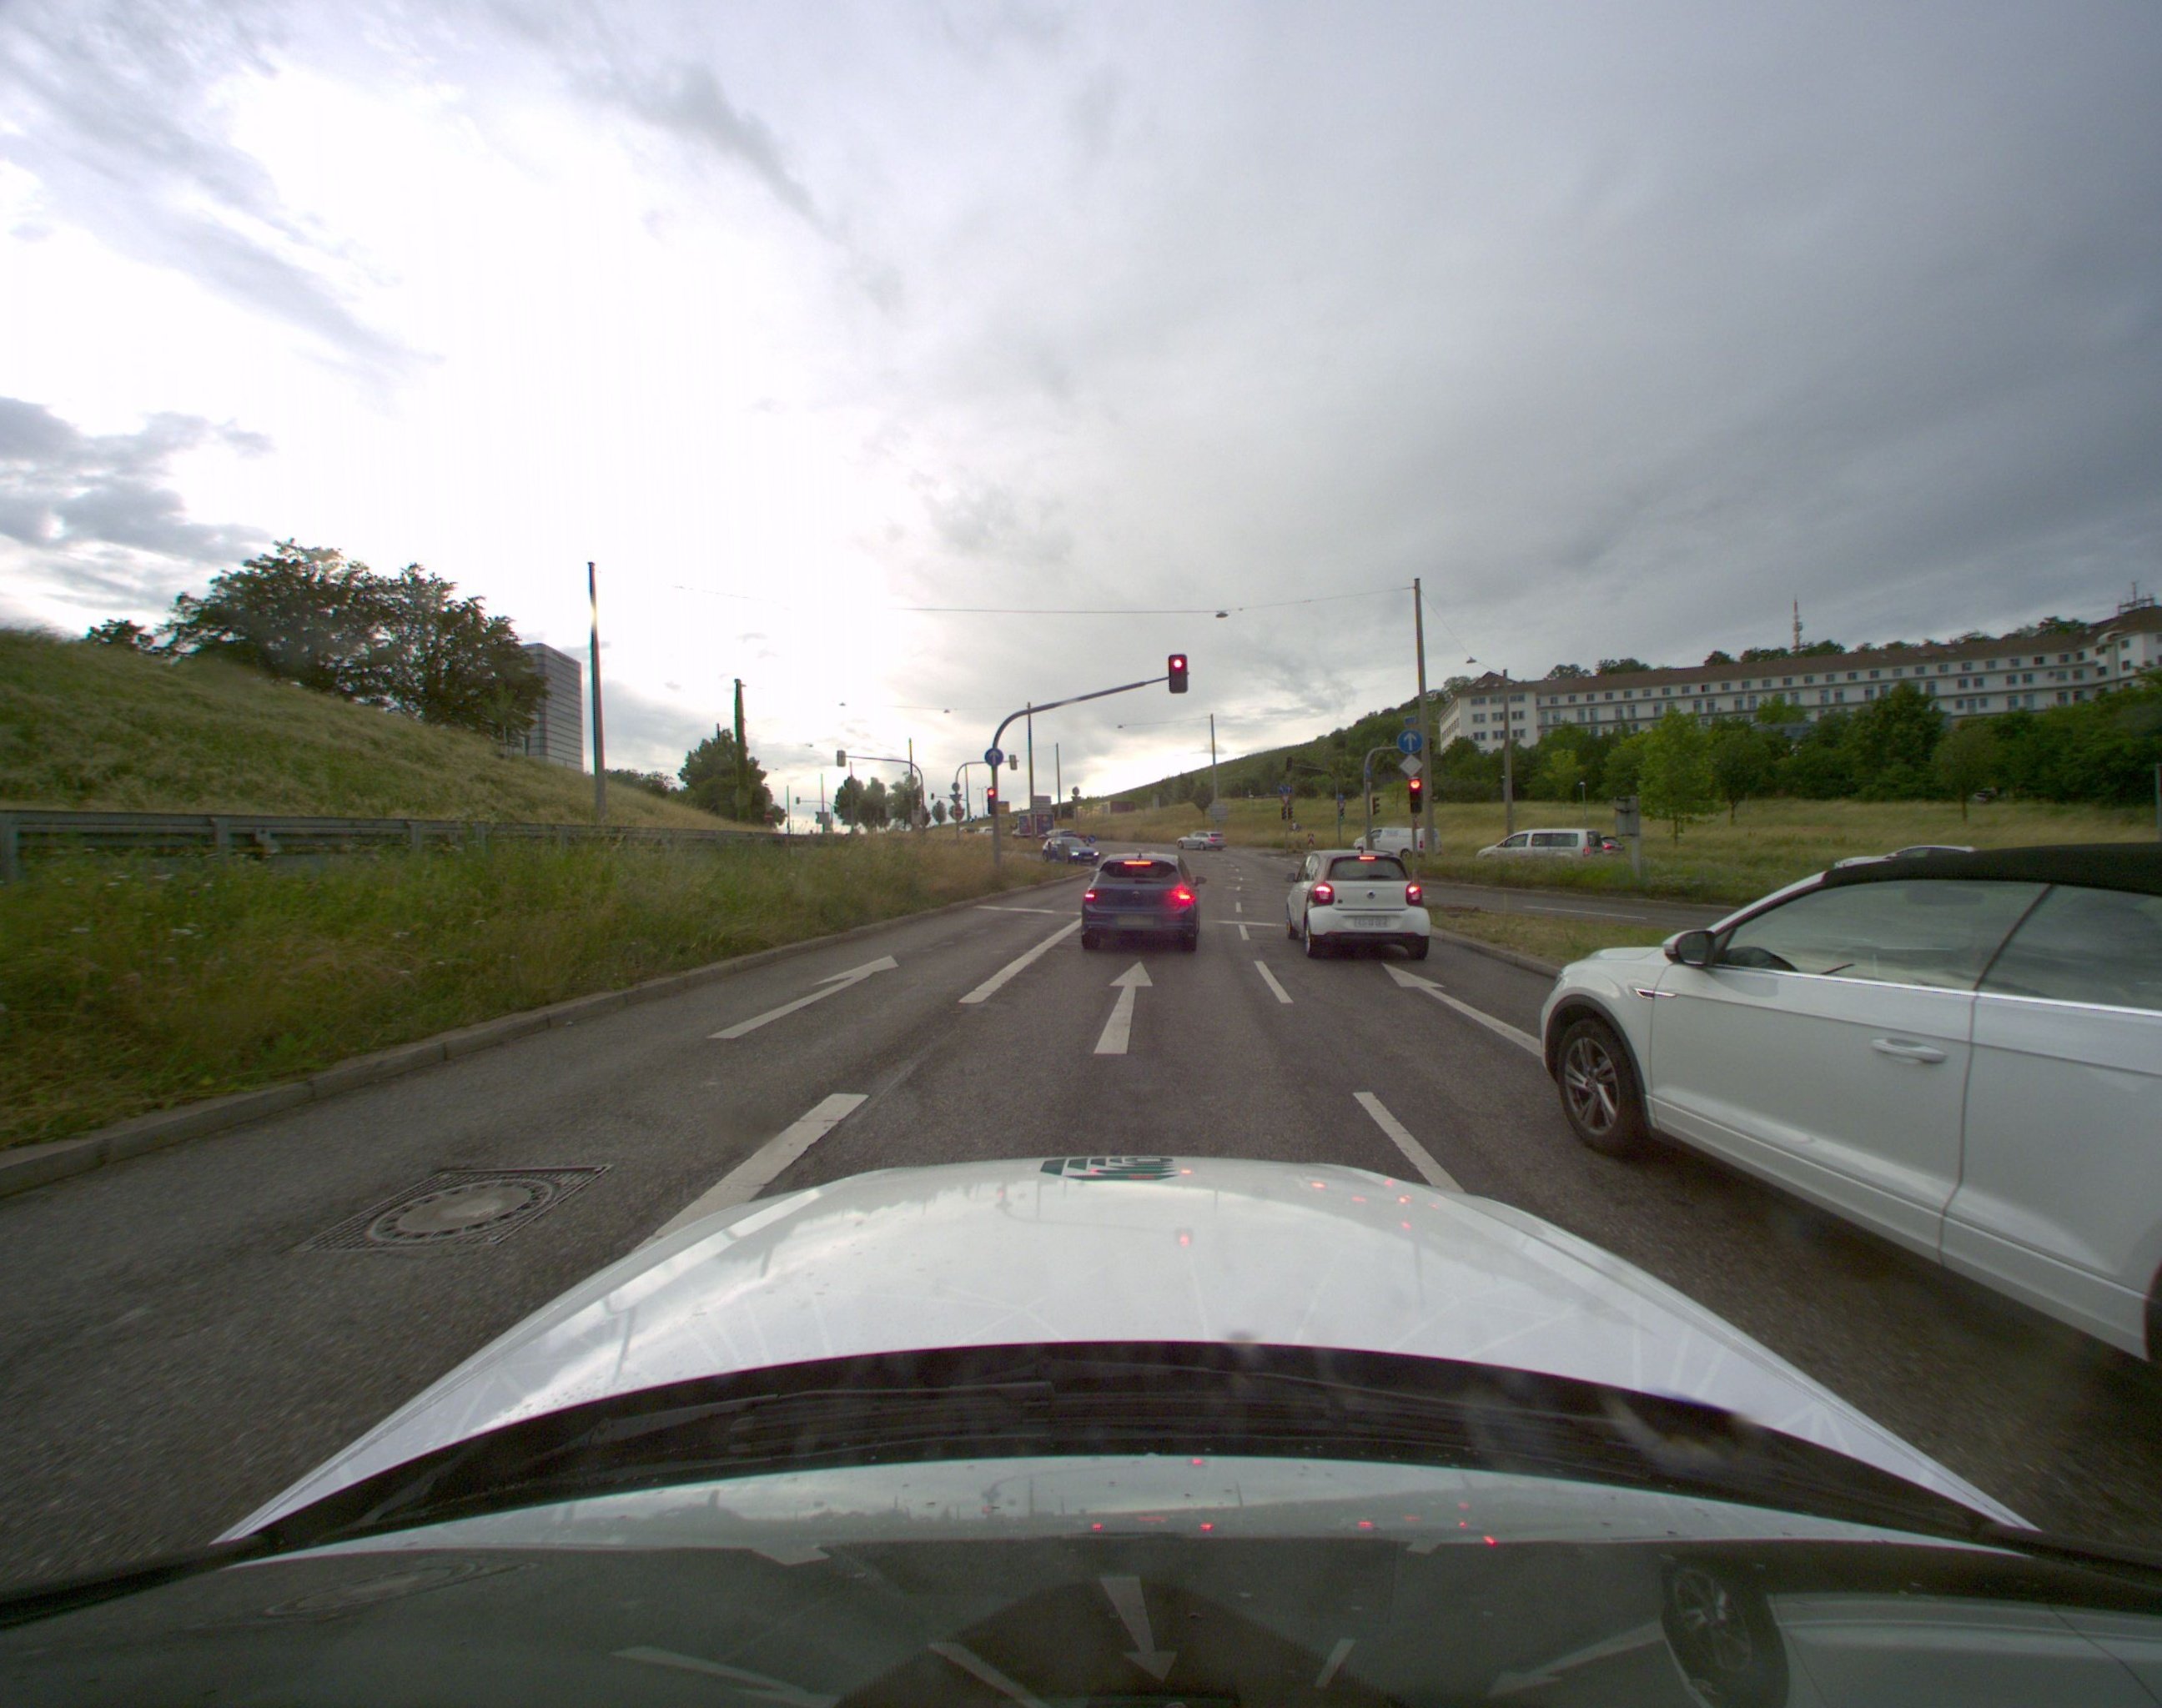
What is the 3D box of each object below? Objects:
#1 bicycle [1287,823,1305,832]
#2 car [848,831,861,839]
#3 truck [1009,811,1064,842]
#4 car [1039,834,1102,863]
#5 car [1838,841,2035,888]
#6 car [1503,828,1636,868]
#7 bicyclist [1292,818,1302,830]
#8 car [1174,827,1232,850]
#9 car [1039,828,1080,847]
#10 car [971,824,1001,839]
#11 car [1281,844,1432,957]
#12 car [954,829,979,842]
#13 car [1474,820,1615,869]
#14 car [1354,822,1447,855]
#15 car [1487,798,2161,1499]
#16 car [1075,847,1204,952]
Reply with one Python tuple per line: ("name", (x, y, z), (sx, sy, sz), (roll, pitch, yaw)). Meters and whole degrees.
("bicycle", (19.434, -2.418, 73.732), (0.522, 0.775, 1.603), (1, 1, -37))
("car", (-46.263, -3.895, 166.422), (1.763, 1.705, 3.703), (2, 1, -26))
("truck", (-4.816, -2.913, 87.171), (3.279, 3.074, 6.115), (2, 1, -32))
("car", (-0.619, -0.277, 43.603), (1.704, 1.475, 4.255), (0, 0, -26))
("car", (29.391, 0.348, 28.137), (2.007, 1.477, 4.376), (0, 0, -32))
("car", (20.962, -0.222, 35.111), (2.009, 1.620, 4.474), (0, -1, -36))
("bicyclist", (19.527, -2.707, 73.631), (0.527, 1.046, 0.574), (2, 1, -37))
("car", (9.376, -1.150, 62.870), (2.006, 1.659, 4.500), (0, 0, -30))
("car", (-2.008, -1.465, 75.068), (2.006, 1.659, 4.311), (0, 0, -31))
("car", (-11.718, -2.762, 100.092), (2.006, 1.659, 4.500), (0, 0, -30))
("car", (4.115, 0.634, 12.680), (1.648, 1.503, 3.459), (0, 0, 9))
("car", (-15.724, -2.480, 111.664), (2.004, 1.659, 4.505), (0, 0, -26))
("car", (18.800, -0.339, 33.254), (1.830, 1.850, 4.646), (0, -1, -36))
("car", (18.294, -0.835, 46.831), (2.142, 1.794, 4.696), (0, 0, -29))
("car", (3.269, 0.654, 2.809), (1.707, 1.553, 4.230), (0, 0, 1))
("car", (1.110, 0.639, 13.510), (1.814, 1.460, 3.818), (0, 1, 8))
